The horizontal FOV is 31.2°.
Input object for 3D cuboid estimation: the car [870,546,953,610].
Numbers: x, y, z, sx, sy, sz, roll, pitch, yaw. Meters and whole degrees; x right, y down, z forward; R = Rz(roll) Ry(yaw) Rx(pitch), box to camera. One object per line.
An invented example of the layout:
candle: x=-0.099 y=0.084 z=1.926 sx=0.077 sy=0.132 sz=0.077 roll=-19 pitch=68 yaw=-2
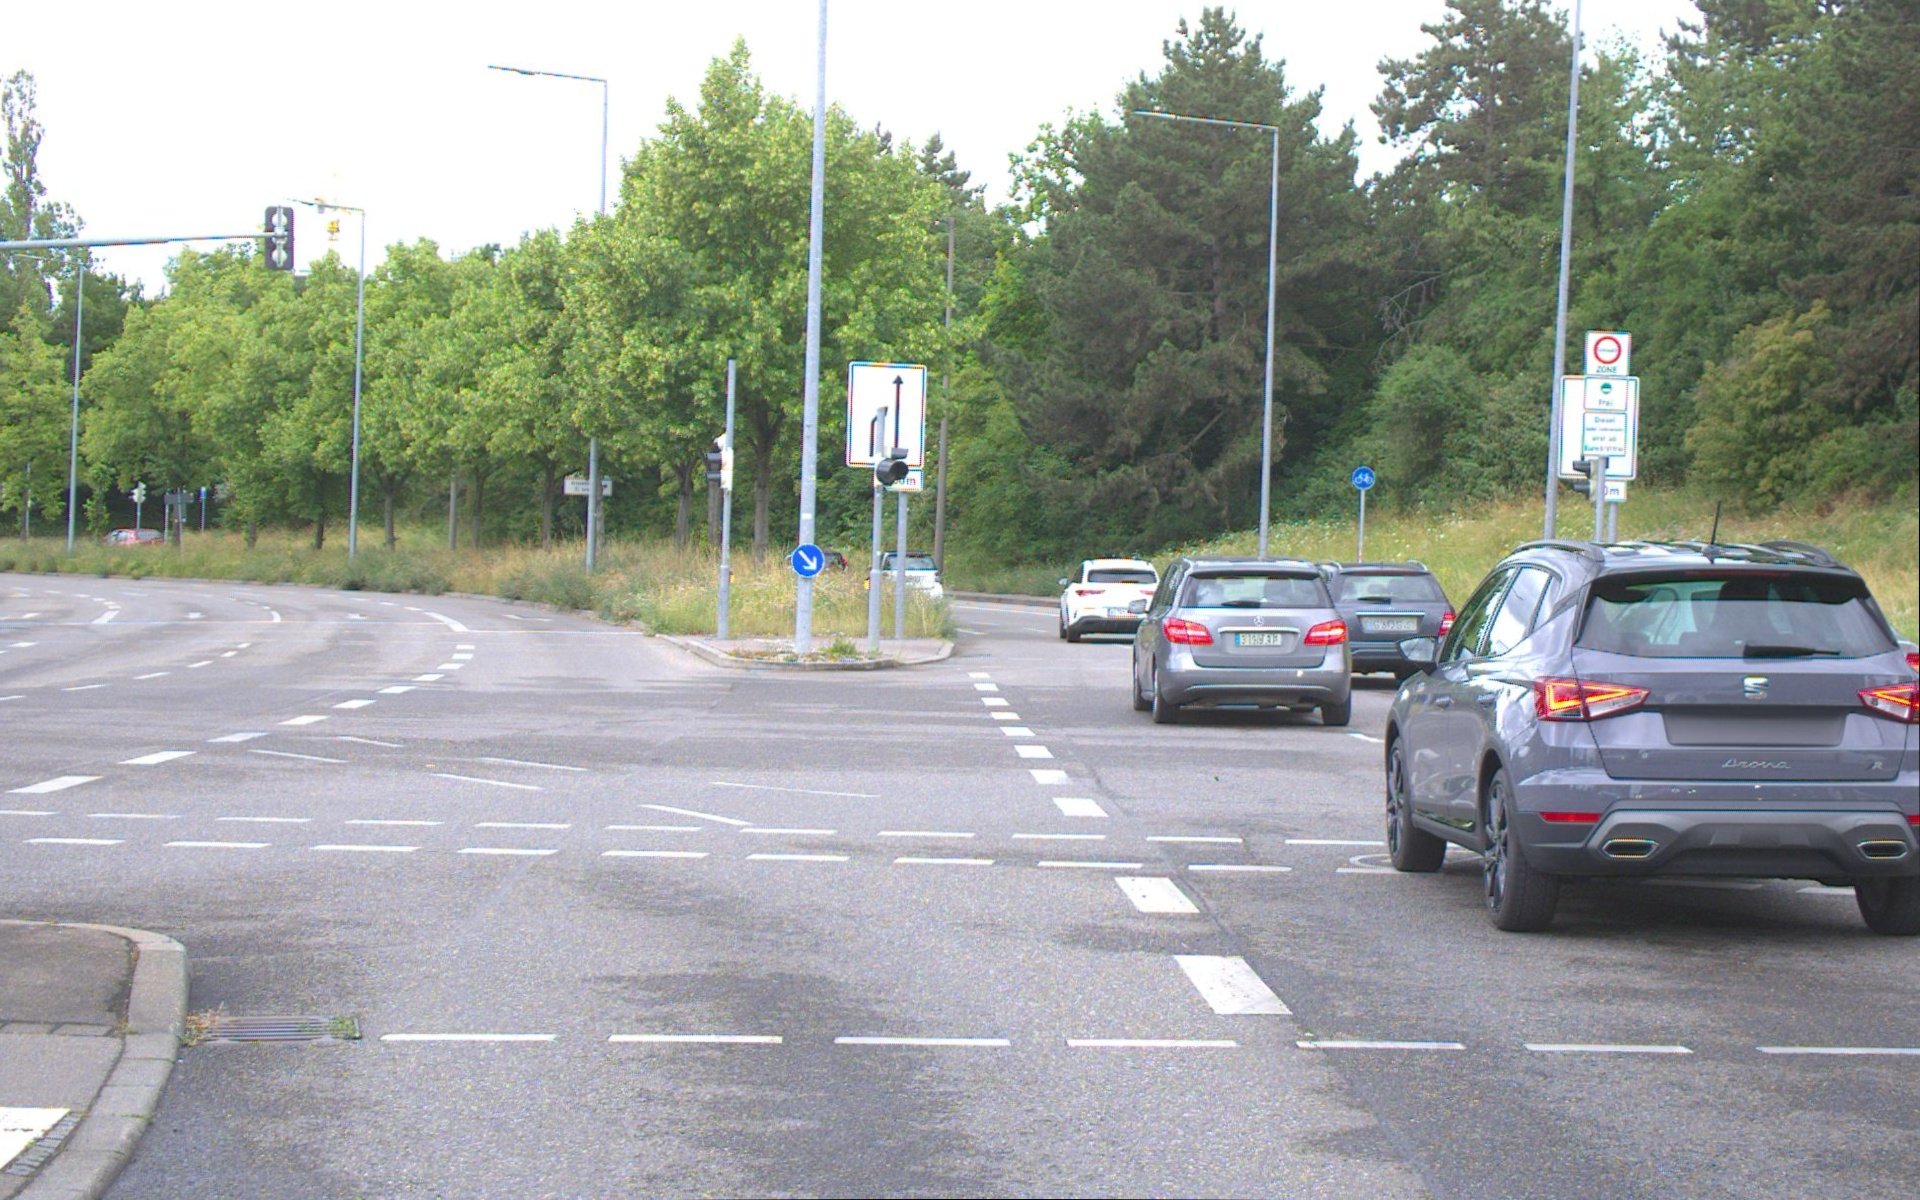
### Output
car: x=-1.205 y=-0.535 z=84.053 sx=1.591 sy=1.511 sz=2.767 roll=1 pitch=0 yaw=-10

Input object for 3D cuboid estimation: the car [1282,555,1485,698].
car: x=4.873 y=0.268 z=40.079 sx=1.746 sy=1.480 sz=4.356 roll=1 pitch=2 yaw=-1

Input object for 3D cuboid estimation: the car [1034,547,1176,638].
car: x=2.484 y=-0.140 z=59.928 sx=1.844 sy=1.501 sz=4.531 roll=1 pitch=0 yaw=-6

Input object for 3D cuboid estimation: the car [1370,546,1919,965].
car: x=2.814 y=0.539 z=14.427 sx=1.624 sy=1.488 sz=3.838 roll=1 pitch=1 yaw=-1

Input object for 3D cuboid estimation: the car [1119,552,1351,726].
car: x=2.508 y=0.315 z=32.231 sx=1.746 sy=1.503 sz=4.048 roll=1 pitch=1 yaw=-1

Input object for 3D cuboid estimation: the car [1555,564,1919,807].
car: x=5.207 y=0.490 z=22.692 sx=1.746 sy=1.378 sz=4.291 roll=1 pitch=1 yaw=-1

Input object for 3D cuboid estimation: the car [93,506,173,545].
car: x=-35.336 y=-3.182 z=146.901 sx=1.785 sy=1.598 sz=3.886 roll=0 pitch=1 yaw=-39
